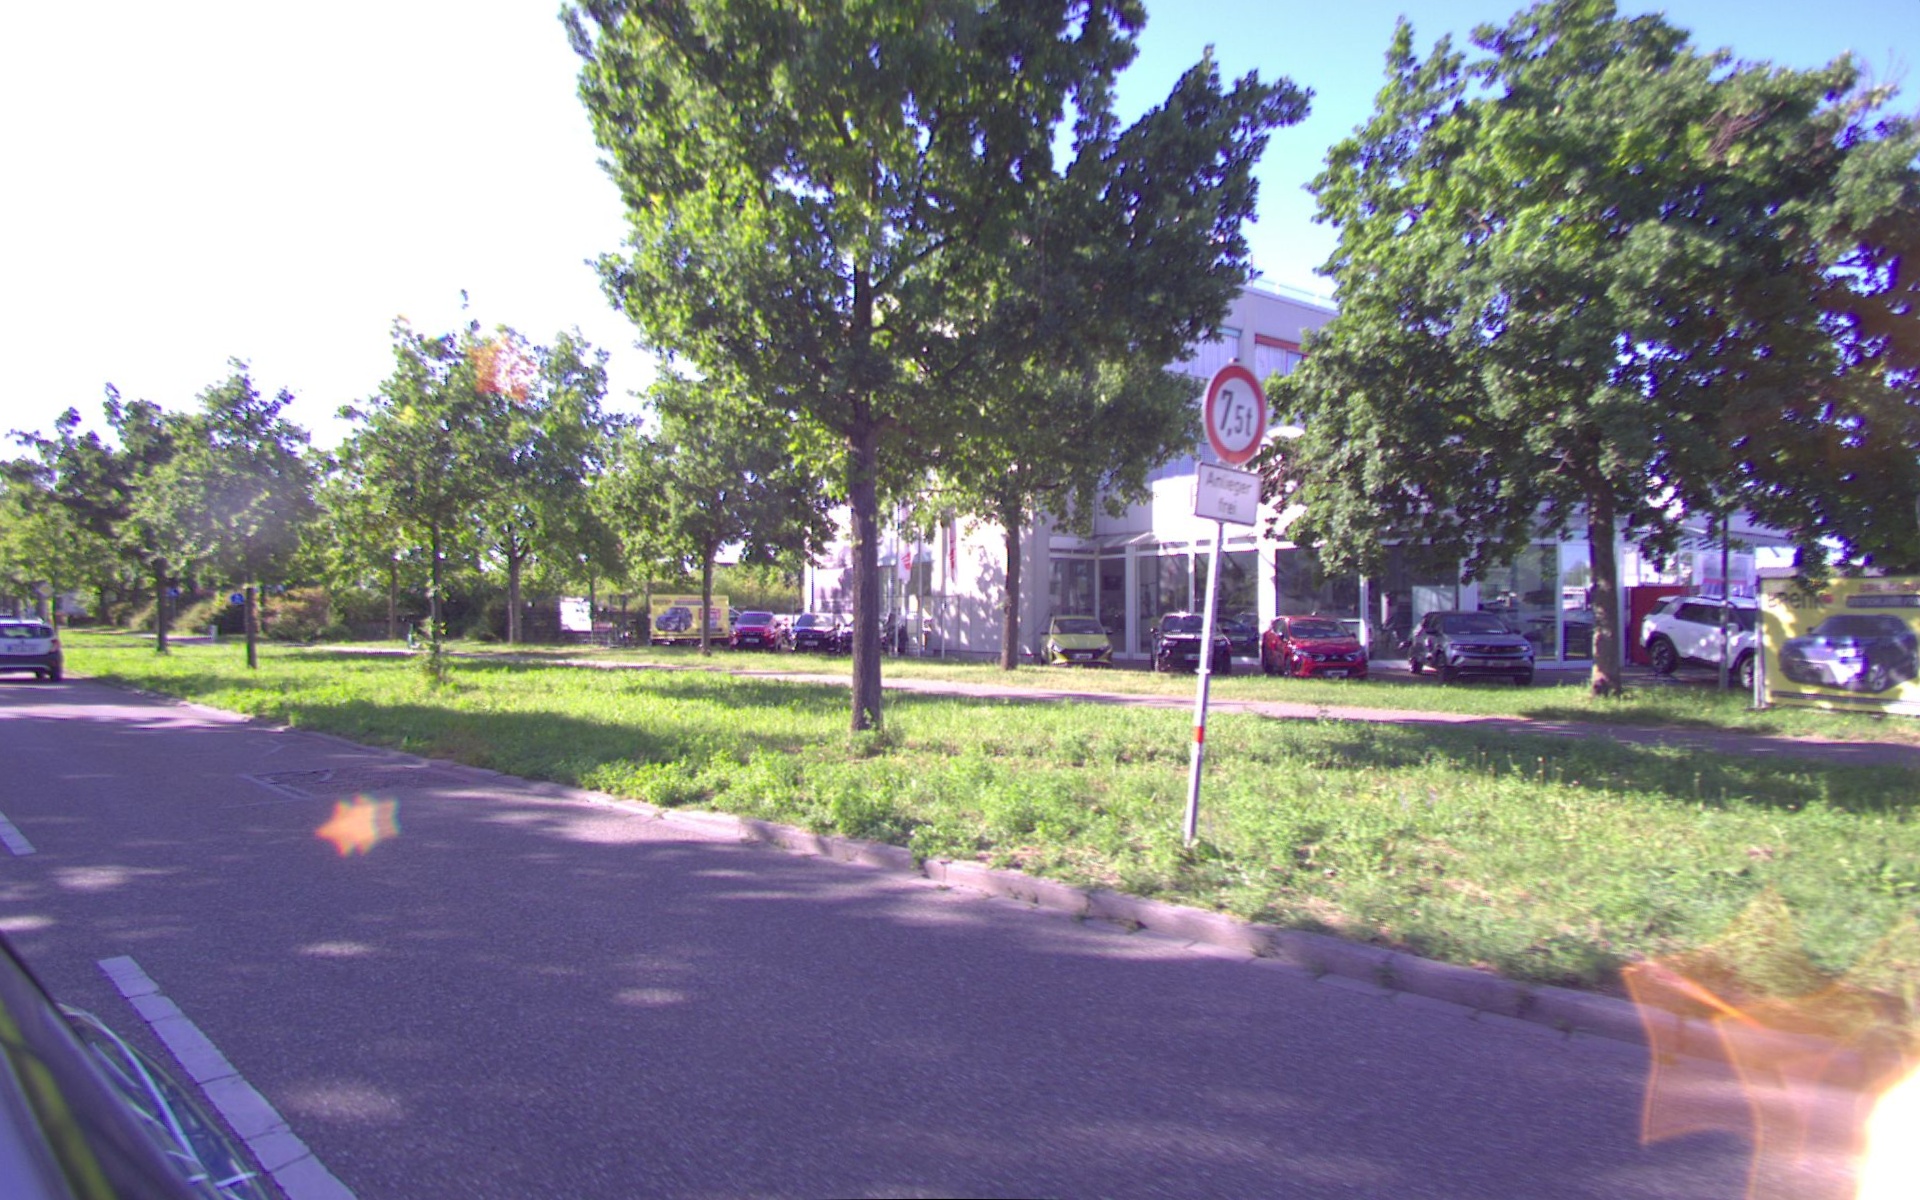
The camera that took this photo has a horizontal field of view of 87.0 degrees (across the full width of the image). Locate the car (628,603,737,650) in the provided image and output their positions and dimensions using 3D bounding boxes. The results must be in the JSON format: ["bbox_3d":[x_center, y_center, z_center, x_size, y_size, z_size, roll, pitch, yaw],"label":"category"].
[{"bbox_3d":[-11.738,1.097,42.895,3.965,1.797,2.030,-1,0,-37],"label":"car"}]

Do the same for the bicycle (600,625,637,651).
[{"bbox_3d":[-14.461,1.600,42.818,1.890,1.096,0.632,-1,-2,42],"label":"bicycle"}]

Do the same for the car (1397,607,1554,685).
[{"bbox_3d":[11.367,0.966,22.661,1.978,1.574,4.156,0,-1,10],"label":"car"}]

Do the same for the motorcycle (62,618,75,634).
[{"bbox_3d":[-84.849,2.473,96.278,0.729,1.443,1.992,-4,2,-45],"label":"motorcycle"}]

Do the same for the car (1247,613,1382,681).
[{"bbox_3d":[8.527,1.094,24.761,1.974,1.502,4.166,0,-1,3],"label":"car"}]

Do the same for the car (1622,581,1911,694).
[{"bbox_3d":[16.144,0.726,20.696,1.972,2.029,4.857,0,-1,0],"label":"car"}]

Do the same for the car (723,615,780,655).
[{"bbox_3d":[-8.055,1.325,39.380,1.773,1.459,4.005,0,-1,-6],"label":"car"}]

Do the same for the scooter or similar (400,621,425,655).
[{"bbox_3d":[-21.156,1.442,39.090,1.441,1.289,0.390,-1,-2,43],"label":"scooter or similar"}]

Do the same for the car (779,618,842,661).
[{"bbox_3d":[-5.383,1.410,36.899,1.775,1.459,4.000,0,-1,-1],"label":"car"}]

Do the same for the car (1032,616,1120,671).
[{"bbox_3d":[3.100,1.159,27.900,1.972,1.412,3.952,0,-1,0],"label":"car"}]

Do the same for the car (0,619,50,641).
[{"bbox_3d":[-73.527,2.328,78.137,2.190,1.570,4.579,-2,0,40],"label":"car"}]

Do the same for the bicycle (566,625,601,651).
[{"bbox_3d":[-16.178,1.617,43.468,1.890,1.096,0.632,-1,-2,42],"label":"bicycle"}]

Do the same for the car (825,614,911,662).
[{"bbox_3d":[-3.060,1.259,34.609,1.783,1.523,3.983,-2,-1,13],"label":"car"}]

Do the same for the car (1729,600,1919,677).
[{"bbox_3d":[19.832,0.815,22.329,1.968,1.583,4.178,1,-2,-38],"label":"car"}]

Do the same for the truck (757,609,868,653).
[{"bbox_3d":[-6.763,1.373,46.524,4.614,1.797,2.030,-1,0,-37],"label":"truck"}]

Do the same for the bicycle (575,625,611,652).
[{"bbox_3d":[-15.344,1.593,42.290,1.890,1.096,0.632,-1,-2,42],"label":"bicycle"}]

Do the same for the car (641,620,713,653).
[{"bbox_3d":[-12.934,1.638,46.150,1.772,1.459,4.008,1,-1,-38],"label":"car"}]

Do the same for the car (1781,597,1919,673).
[{"bbox_3d":[23.983,0.865,25.408,1.967,1.826,4.882,1,-1,-37],"label":"car"}]

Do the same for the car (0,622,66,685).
[{"bbox_3d":[-23.788,1.299,25.314,4.427,1.476,1.725,-2,-3,43],"label":"car"}]

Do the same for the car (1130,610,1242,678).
[{"bbox_3d":[5.570,1.062,25.481,1.870,1.550,4.169,0,-1,0],"label":"car"}]
